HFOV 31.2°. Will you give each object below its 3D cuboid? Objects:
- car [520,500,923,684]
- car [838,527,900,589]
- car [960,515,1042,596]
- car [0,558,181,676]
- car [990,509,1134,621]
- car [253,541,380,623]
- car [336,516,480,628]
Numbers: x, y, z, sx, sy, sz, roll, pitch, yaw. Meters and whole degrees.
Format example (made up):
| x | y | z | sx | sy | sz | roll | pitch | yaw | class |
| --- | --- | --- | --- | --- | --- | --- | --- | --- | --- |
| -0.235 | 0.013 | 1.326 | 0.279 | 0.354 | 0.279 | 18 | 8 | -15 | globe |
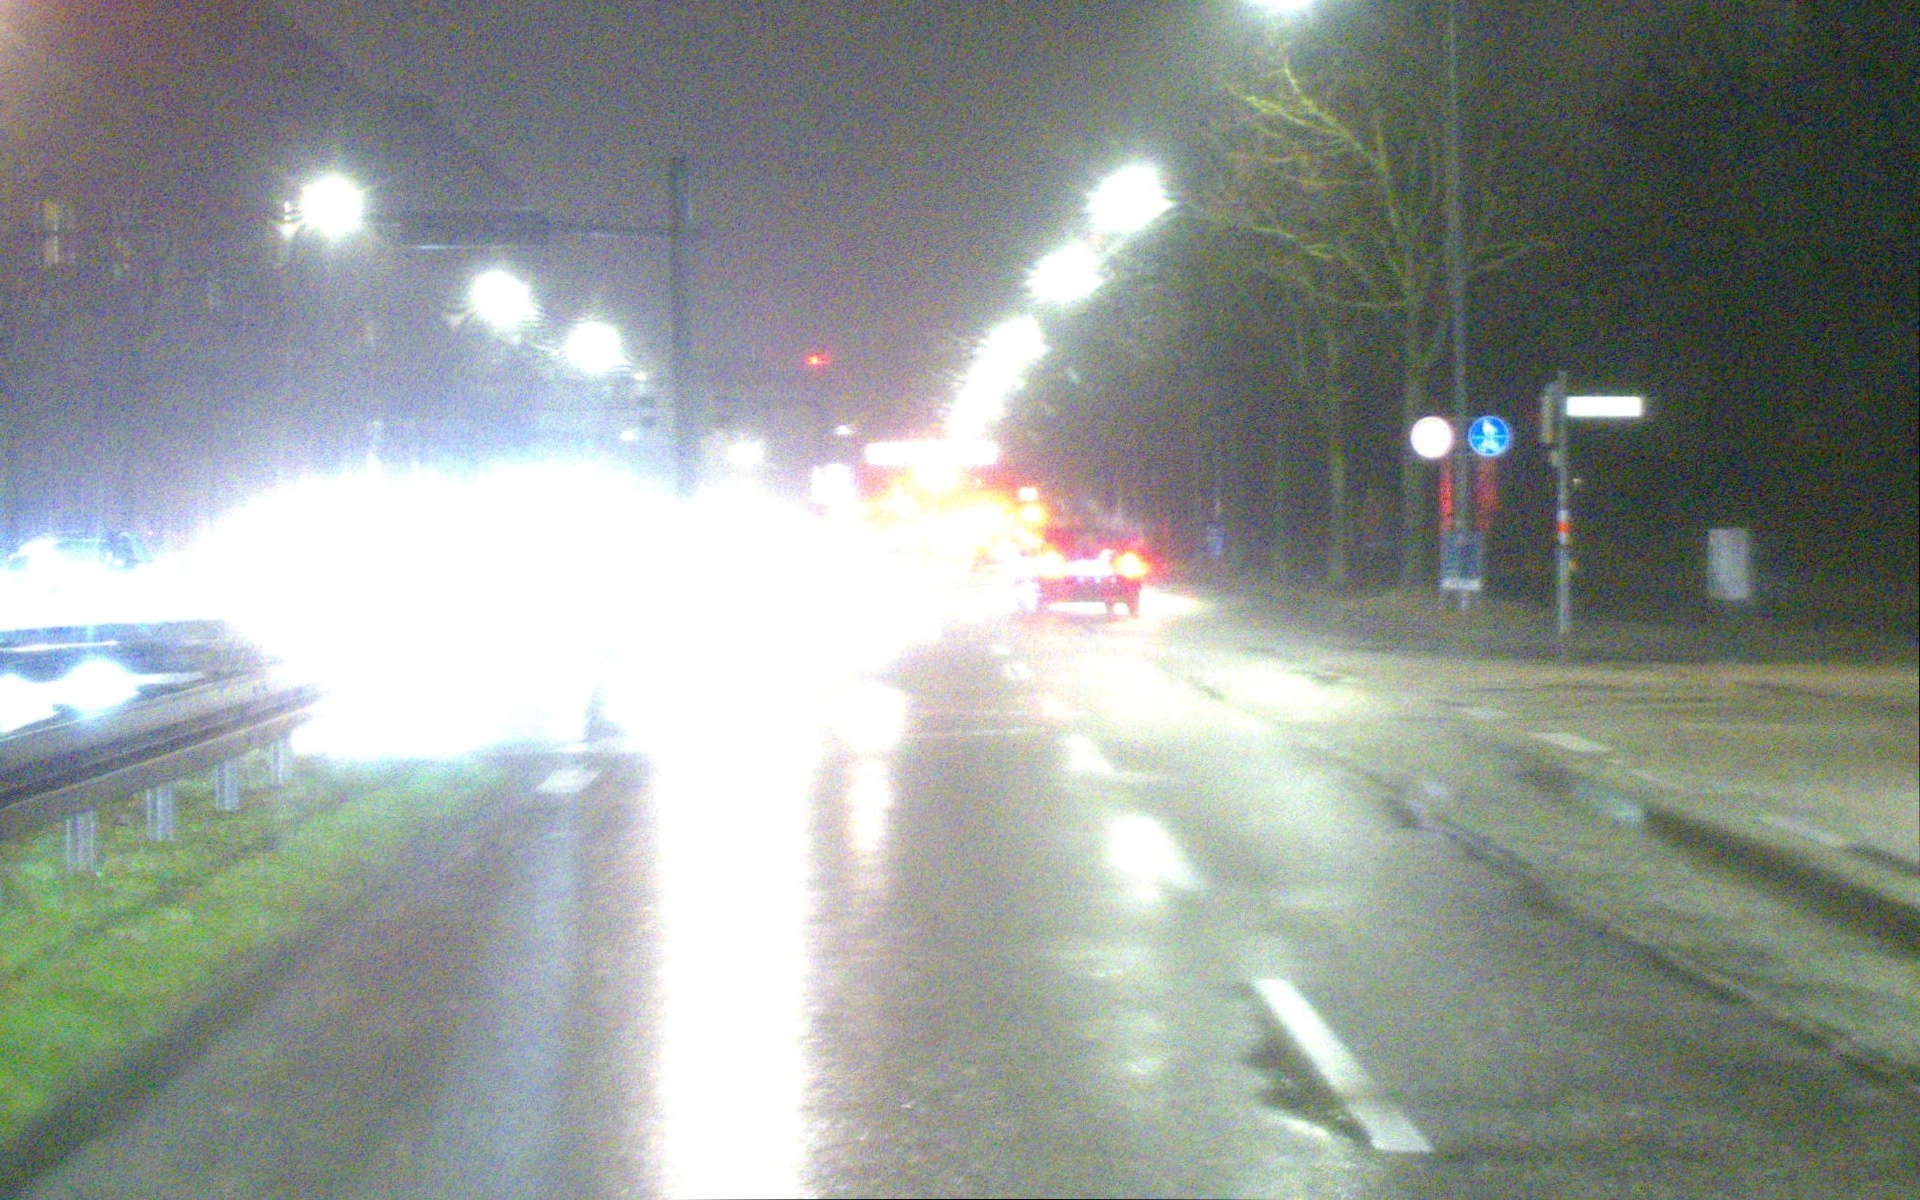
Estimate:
| x | y | z | sx | sy | sz | roll | pitch | yaw | class |
| --- | --- | --- | --- | --- | --- | --- | --- | --- | --- |
| -2.366 | -0.089 | 32.610 | 1.993 | 1.604 | 4.971 | 0 | 0 | -27 | car |
| -3.013 | -1.392 | 114.276 | 1.993 | 2.007 | 4.000 | 0 | 0 | -1 | car |
| 1.132 | -1.236 | 96.397 | 2.208 | 2.207 | 3.643 | 0 | 0 | 0 | car |
| -12.217 | 0.206 | 47.619 | 1.885 | 1.547 | 4.433 | 0 | 0 | -1 | car |
| 1.641 | -0.571 | 56.472 | 1.902 | 1.774 | 4.001 | 0 | 0 | -5 | car |
| -12.855 | -0.378 | 68.899 | 1.770 | 1.564 | 4.331 | -1 | 1 | -1 | car |
| -9.323 | -0.475 | 58.288 | 1.783 | 1.809 | 4.000 | -1 | 1 | 0 | car |
